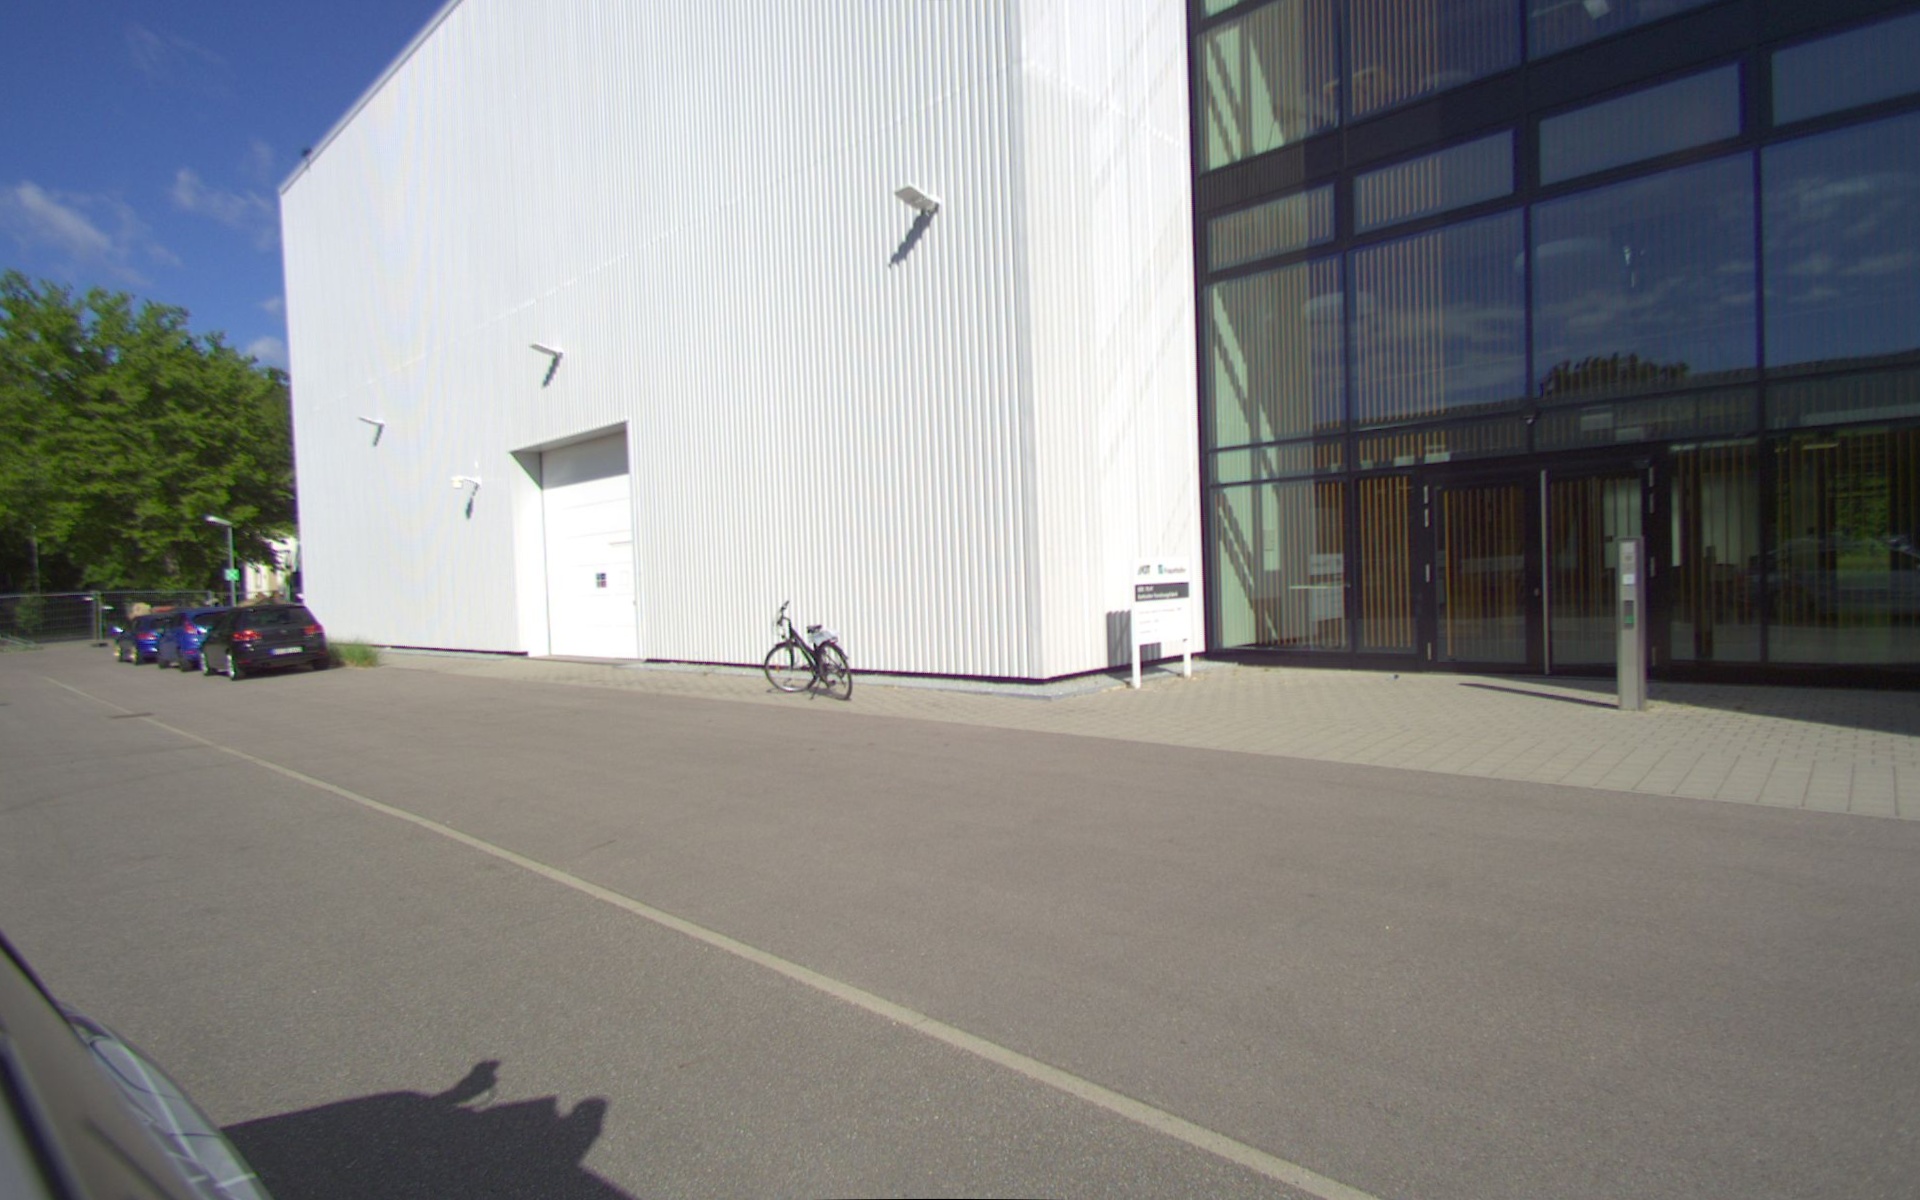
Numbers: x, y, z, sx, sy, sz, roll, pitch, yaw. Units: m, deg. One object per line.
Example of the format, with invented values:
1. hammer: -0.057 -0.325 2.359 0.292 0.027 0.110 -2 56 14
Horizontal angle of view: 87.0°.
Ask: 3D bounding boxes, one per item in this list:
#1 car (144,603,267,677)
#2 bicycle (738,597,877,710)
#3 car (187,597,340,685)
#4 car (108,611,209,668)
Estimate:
1. car: -18.749 0.936 25.078 4.002 1.533 1.766 -1 4 45
2. bicycle: -1.869 0.585 12.164 0.895 1.151 1.905 -6 4 -32
3. car: -14.877 0.824 21.536 4.002 1.533 1.870 -1 4 45
4. car: -22.827 1.074 28.768 4.002 1.451 1.765 -1 0 45
